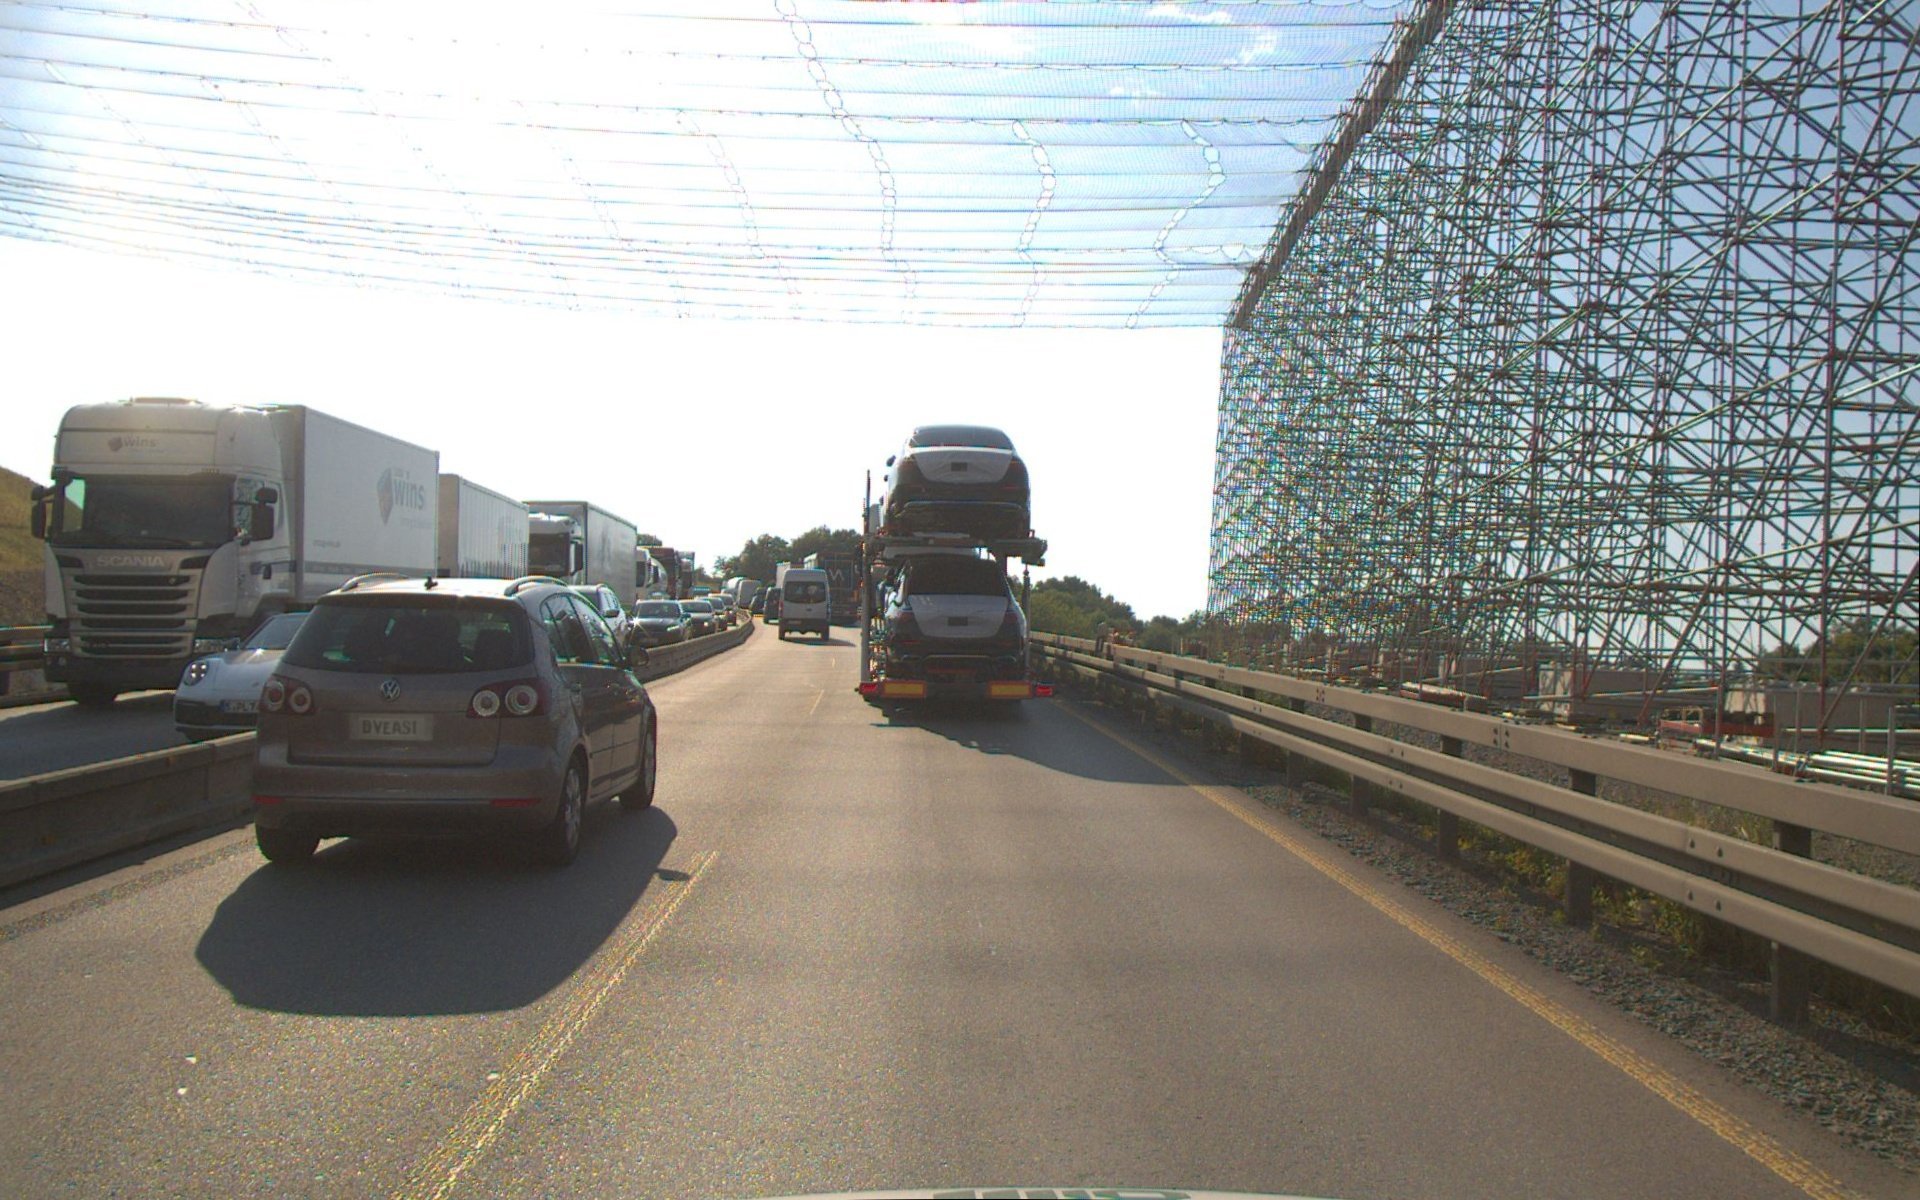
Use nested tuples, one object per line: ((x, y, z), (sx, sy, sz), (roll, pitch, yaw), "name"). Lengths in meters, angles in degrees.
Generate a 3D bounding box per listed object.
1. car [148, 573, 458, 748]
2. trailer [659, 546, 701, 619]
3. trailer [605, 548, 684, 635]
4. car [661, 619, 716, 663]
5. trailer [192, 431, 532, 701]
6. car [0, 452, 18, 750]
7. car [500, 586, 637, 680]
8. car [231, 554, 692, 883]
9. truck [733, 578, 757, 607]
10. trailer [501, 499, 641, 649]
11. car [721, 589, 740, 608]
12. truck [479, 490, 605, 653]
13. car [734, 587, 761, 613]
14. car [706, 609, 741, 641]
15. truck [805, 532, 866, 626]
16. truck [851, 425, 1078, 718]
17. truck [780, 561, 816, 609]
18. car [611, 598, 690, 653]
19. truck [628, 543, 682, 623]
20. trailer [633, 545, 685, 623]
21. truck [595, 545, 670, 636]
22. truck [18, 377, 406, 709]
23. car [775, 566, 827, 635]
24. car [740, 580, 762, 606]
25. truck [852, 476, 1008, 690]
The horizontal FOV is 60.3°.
((-6.725, 0.571, 17.460), (1.772, 1.595, 4.362), (1, 0, -4), "car")
((-17.935, -1.063, 106.231), (2.430, 4.404, 10.488), (1, 0, -9), "trailer")
((-13.658, -0.315, 72.308), (2.262, 3.420, 12.037), (1, 0, -6), "trailer")
((-9.315, 1.387, 56.897), (1.576, 1.400, 3.896), (1, 0, -5), "car")
((-10.875, -0.485, 31.988), (2.617, 4.086, 13.321), (1, 0, -4), "trailer")
((-9.851, -0.018, 11.998), (2.196, 2.760, 7.078), (1, 0, -3), "car")
((-7.195, 0.579, 30.828), (1.772, 1.595, 4.362), (1, 0, -4), "car")
((-2.822, 0.605, 10.298), (1.657, 1.624, 3.999), (1, 0, 0), "car")
((-23.986, -0.803, 184.739), (2.541, 3.226, 6.667), (1, 0, -7), "truck")
((-11.914, -0.689, 51.897), (2.381, 4.032, 14.080), (1, 0, -6), "trailer")
((-22.860, -0.152, 164.709), (1.802, 1.868, 3.994), (1, 0, -7), "car")
((-11.250, -0.713, 44.946), (2.425, 4.116, 5.610), (1, 0, -6), "truck")
((-15.054, 0.026, 116.956), (1.792, 1.803, 3.992), (1, 0, -8), "car")
((-12.312, 1.278, 86.279), (1.718, 1.614, 3.936), (1, 0, -8), "car")
((-7.623, -1.200, 100.192), (3.223, 5.328, 9.920), (1, 0, -7), "truck")
((-0.176, -0.322, 25.672), (2.743, 3.558, 10.599), (1, 0, -3), "truck")
((-12.911, -1.137, 131.450), (2.483, 3.712, 8.890), (1, 0, -8), "truck")
((-8.817, 0.693, 47.421), (1.743, 1.475, 4.658), (1, 0, -5), "car")
((-15.200, -0.808, 82.716), (2.387, 3.851, 5.607), (1, 0, -8), "truck")
((-16.067, -0.793, 88.734), (2.264, 3.856, 12.028), (1, 0, -8), "trailer")
((-12.981, -0.349, 65.909), (2.367, 3.429, 5.610), (1, 0, -6), "truck")
((-10.253, -0.672, 23.638), (2.579, 3.978, 7.199), (1, 0, -4), "truck")
((-6.229, 0.033, 64.295), (1.884, 2.536, 5.401), (1, 0, -6), "car")
((-17.308, -0.581, 136.784), (1.600, 2.049, 3.990), (1, 0, -10), "car")
((-0.767, -0.288, 35.074), (2.781, 3.858, 9.981), (1, 0, -3), "truck")
